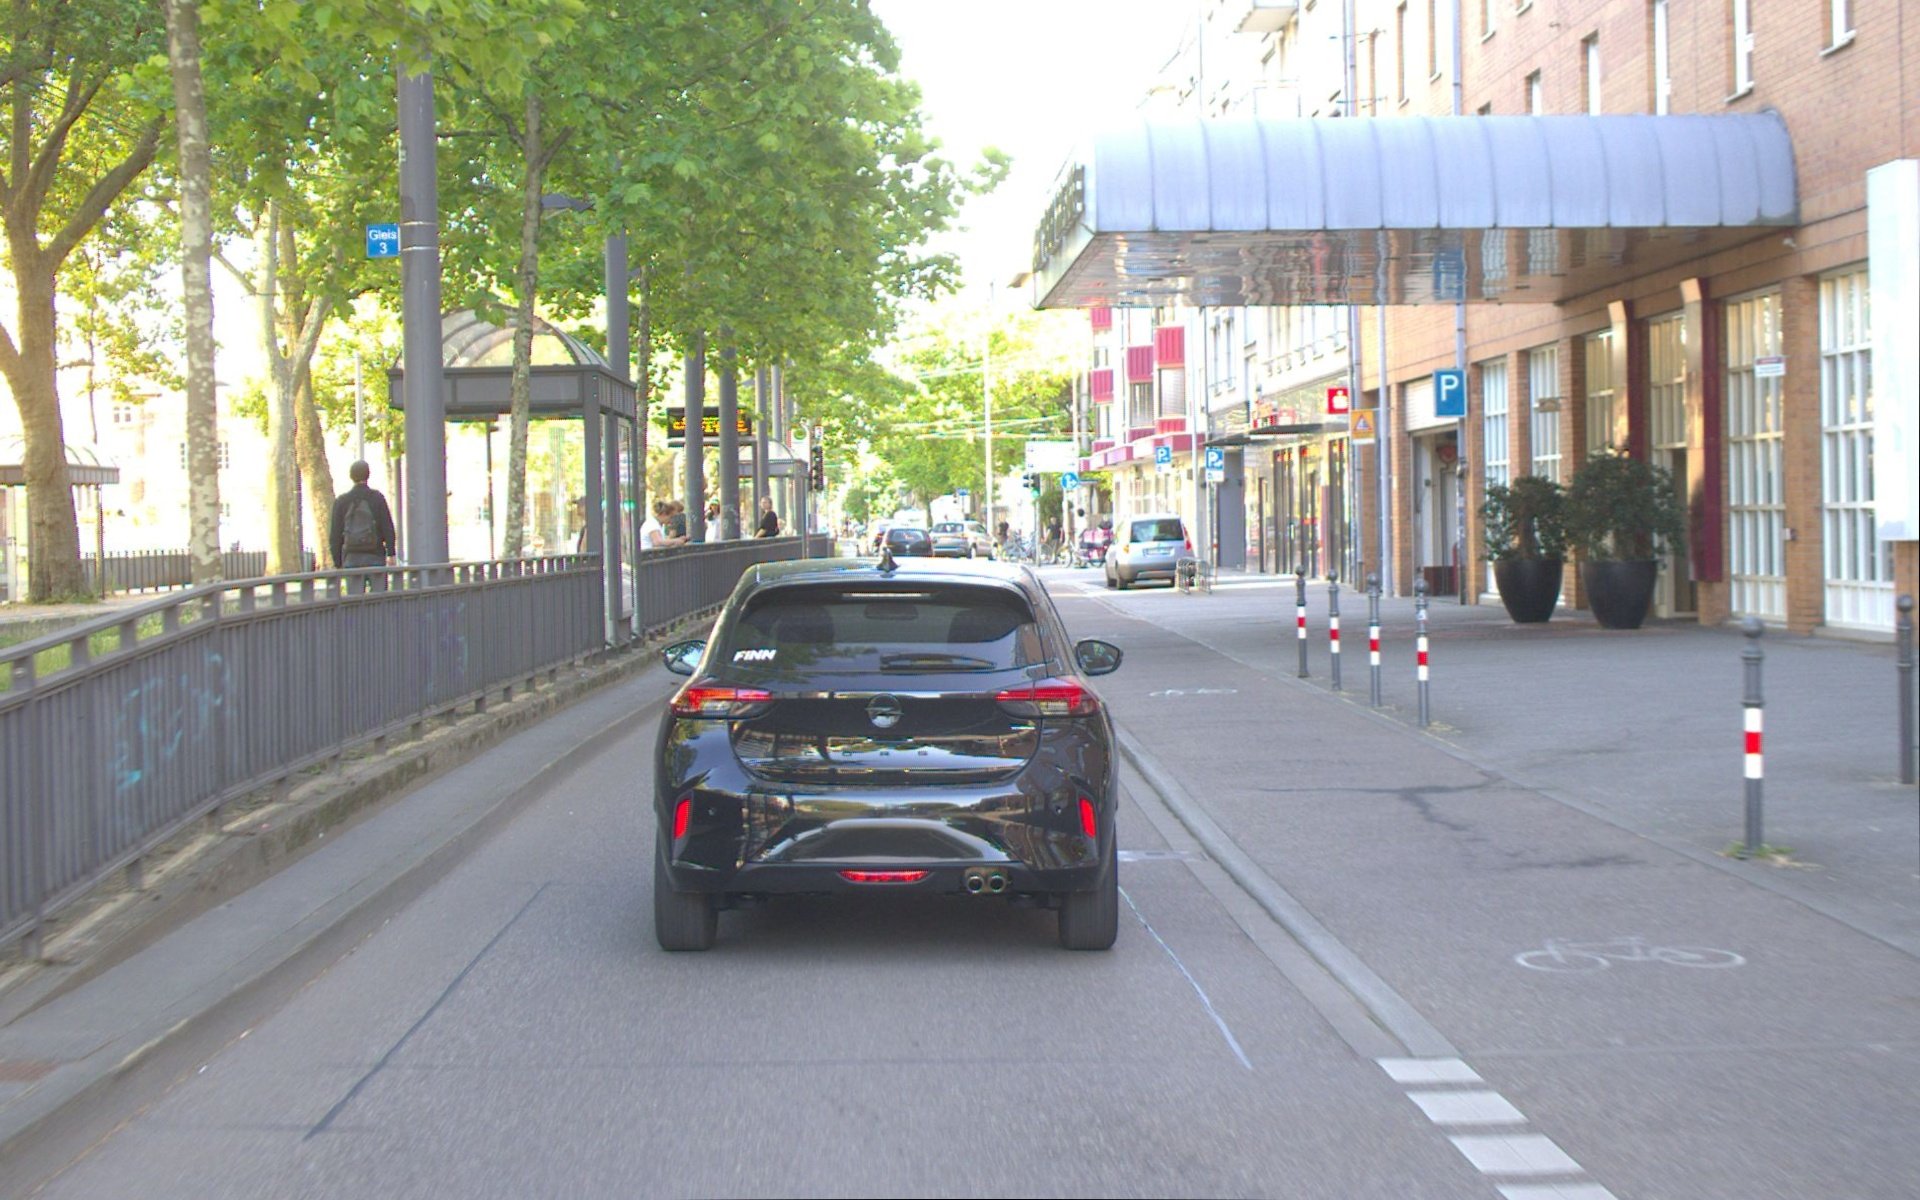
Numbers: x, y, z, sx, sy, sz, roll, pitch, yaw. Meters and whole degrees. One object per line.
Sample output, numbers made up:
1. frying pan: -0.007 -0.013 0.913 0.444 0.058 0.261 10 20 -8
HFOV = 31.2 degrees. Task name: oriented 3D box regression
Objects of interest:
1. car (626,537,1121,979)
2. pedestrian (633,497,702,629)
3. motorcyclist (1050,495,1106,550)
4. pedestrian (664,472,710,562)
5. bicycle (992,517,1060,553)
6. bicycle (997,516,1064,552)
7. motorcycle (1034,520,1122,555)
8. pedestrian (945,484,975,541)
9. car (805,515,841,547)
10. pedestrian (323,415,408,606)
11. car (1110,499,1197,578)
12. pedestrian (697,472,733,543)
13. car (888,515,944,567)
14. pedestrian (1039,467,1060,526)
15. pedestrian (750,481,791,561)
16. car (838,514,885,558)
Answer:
1. car: -0.216 0.509 13.701 1.672 1.496 3.690 1 1 3
2. pedestrian: -3.240 -0.416 38.138 0.722 1.439 0.627 -1 2 -4
3. motorcyclist: 3.728 -2.451 108.856 1.304 1.692 1.237 -2 2 -30
4. pedestrian: -4.239 -1.294 53.415 0.604 1.360 0.486 -3 1 0
5. bicycle: 2.331 -2.284 120.782 2.355 1.229 0.684 -1 2 1
6. bicycle: 2.503 -2.360 122.050 2.355 1.229 0.684 -1 2 1
7. motorcycle: 3.724 -1.990 108.873 1.304 1.055 3.098 -2 2 -30
8. pedestrian: 0.014 -4.435 174.277 1.147 2.861 0.920 -2 1 -34
9. car: -6.556 -3.311 164.937 1.613 1.496 3.691 -1 2 -1
10. pedestrian: -5.354 -0.807 30.994 0.604 1.674 0.486 -3 1 0
11. car: 4.201 -1.355 74.882 1.672 1.646 3.691 -1 2 0
12. pedestrian: -4.839 -1.832 67.933 0.604 1.360 0.486 -3 1 0
13. car: -1.350 -1.790 104.035 1.613 1.496 3.691 -1 2 -1
14. pedestrian: 4.334 -5.011 166.505 0.917 2.861 1.150 -1 2 -2
15. pedestrian: -3.483 -1.457 63.256 0.722 1.439 0.627 -1 2 -4
16. car: -3.515 -2.296 122.927 1.613 1.496 3.691 -1 2 -1
